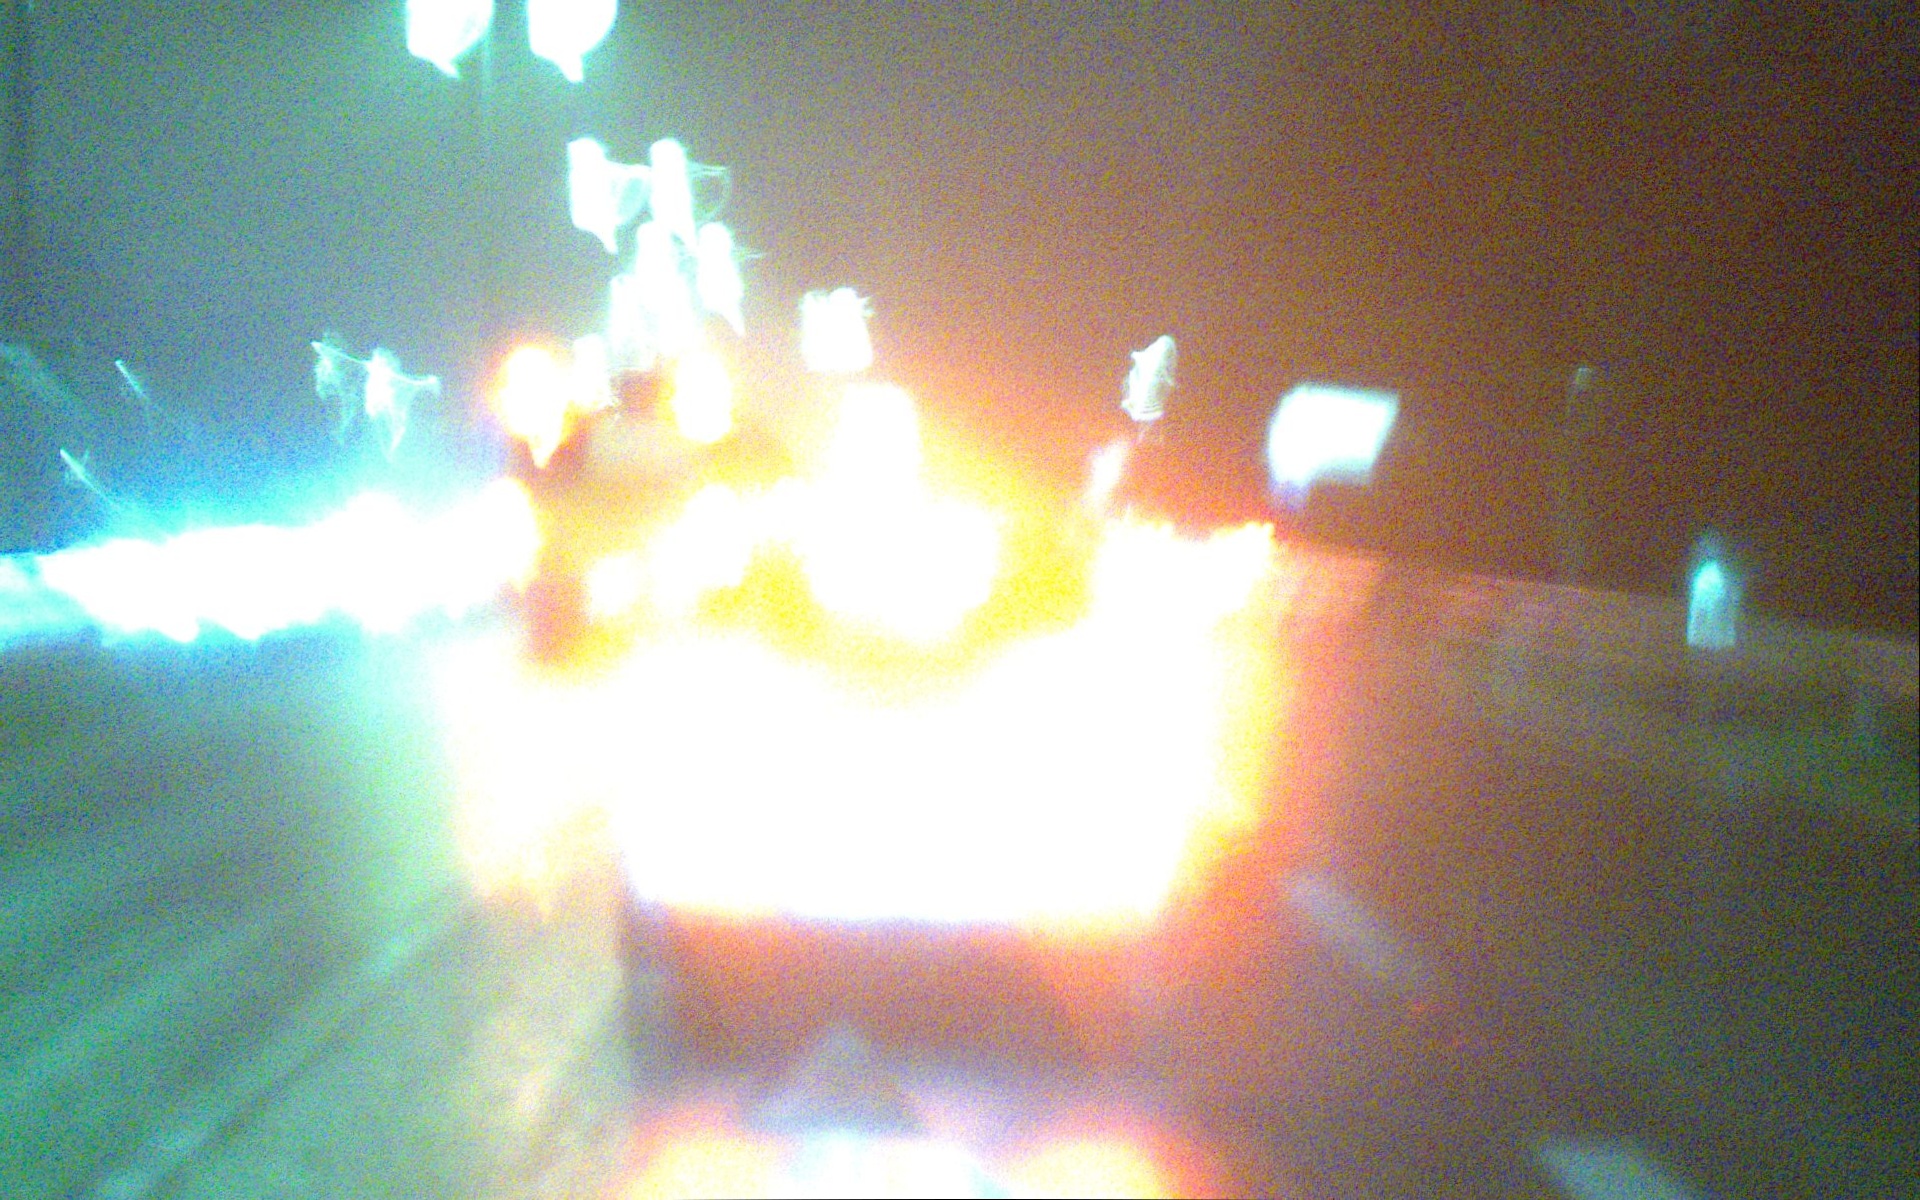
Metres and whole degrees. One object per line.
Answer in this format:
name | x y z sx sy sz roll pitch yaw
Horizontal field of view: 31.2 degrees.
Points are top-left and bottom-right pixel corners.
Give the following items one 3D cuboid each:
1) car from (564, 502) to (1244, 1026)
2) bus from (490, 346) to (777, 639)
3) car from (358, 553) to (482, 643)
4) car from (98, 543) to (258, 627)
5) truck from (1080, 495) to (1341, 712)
car | -0.113 0.444 11.778 1.944 1.486 3.716 1 1 2
bus | -3.823 -1.306 42.298 2.743 3.112 9.202 2 2 -1
car | -11.443 -0.050 73.091 1.993 1.768 4.705 2 0 -2
car | -15.102 -0.291 66.653 2.023 1.497 4.897 2 0 -1
truck | 3.399 0.047 45.129 3.070 2.520 7.165 2 0 6
